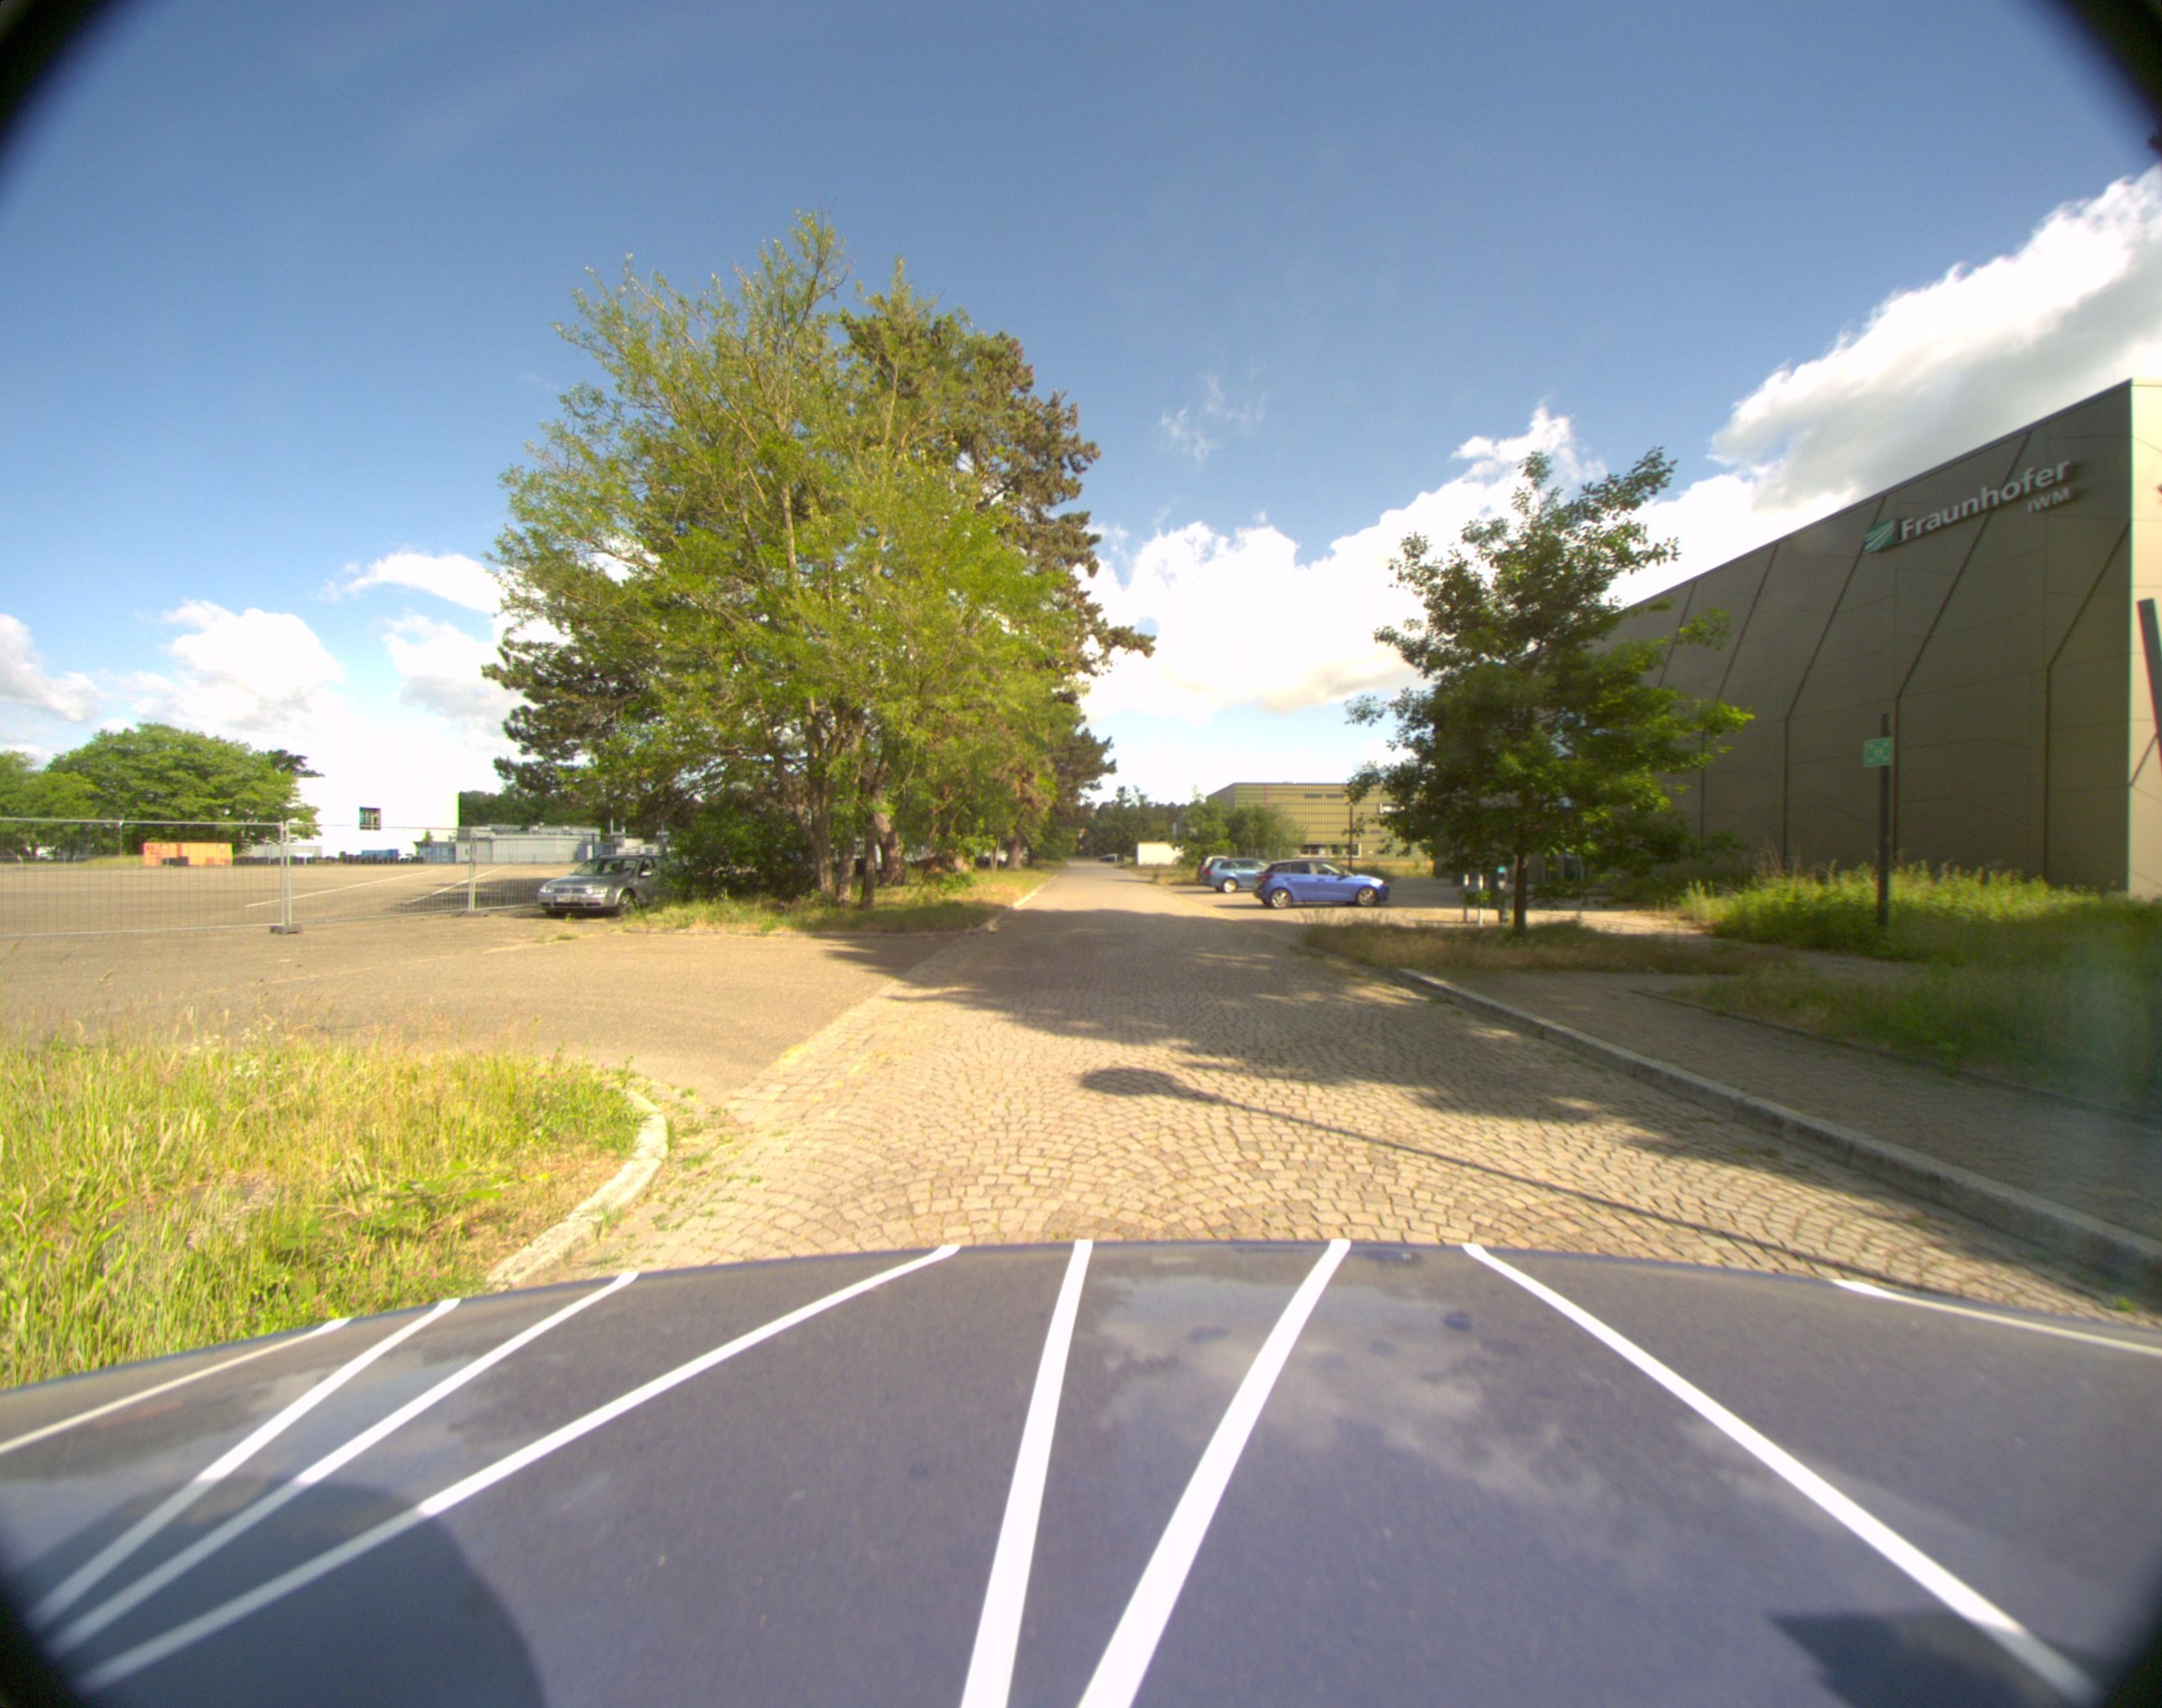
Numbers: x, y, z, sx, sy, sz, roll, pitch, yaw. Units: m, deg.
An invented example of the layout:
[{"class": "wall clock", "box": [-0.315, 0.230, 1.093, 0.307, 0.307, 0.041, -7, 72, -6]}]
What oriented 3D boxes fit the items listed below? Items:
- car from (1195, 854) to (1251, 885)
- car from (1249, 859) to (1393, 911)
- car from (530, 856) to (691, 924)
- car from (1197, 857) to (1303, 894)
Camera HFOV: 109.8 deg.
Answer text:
[{"class": "car", "box": [7.511, 0.827, 40.348, 2.652, 1.559, 1.481, -1, 1, -1]}, {"class": "car", "box": [7.326, 0.943, 23.504, 3.918, 1.459, 1.735, -1, 0, 3]}, {"class": "car", "box": [-11.189, 0.778, 18.427, 1.579, 1.435, 3.985, 0, 0, -3]}, {"class": "car", "box": [7.278, 0.898, 32.985, 4.180, 1.465, 1.734, -1, 0, -2]}]
